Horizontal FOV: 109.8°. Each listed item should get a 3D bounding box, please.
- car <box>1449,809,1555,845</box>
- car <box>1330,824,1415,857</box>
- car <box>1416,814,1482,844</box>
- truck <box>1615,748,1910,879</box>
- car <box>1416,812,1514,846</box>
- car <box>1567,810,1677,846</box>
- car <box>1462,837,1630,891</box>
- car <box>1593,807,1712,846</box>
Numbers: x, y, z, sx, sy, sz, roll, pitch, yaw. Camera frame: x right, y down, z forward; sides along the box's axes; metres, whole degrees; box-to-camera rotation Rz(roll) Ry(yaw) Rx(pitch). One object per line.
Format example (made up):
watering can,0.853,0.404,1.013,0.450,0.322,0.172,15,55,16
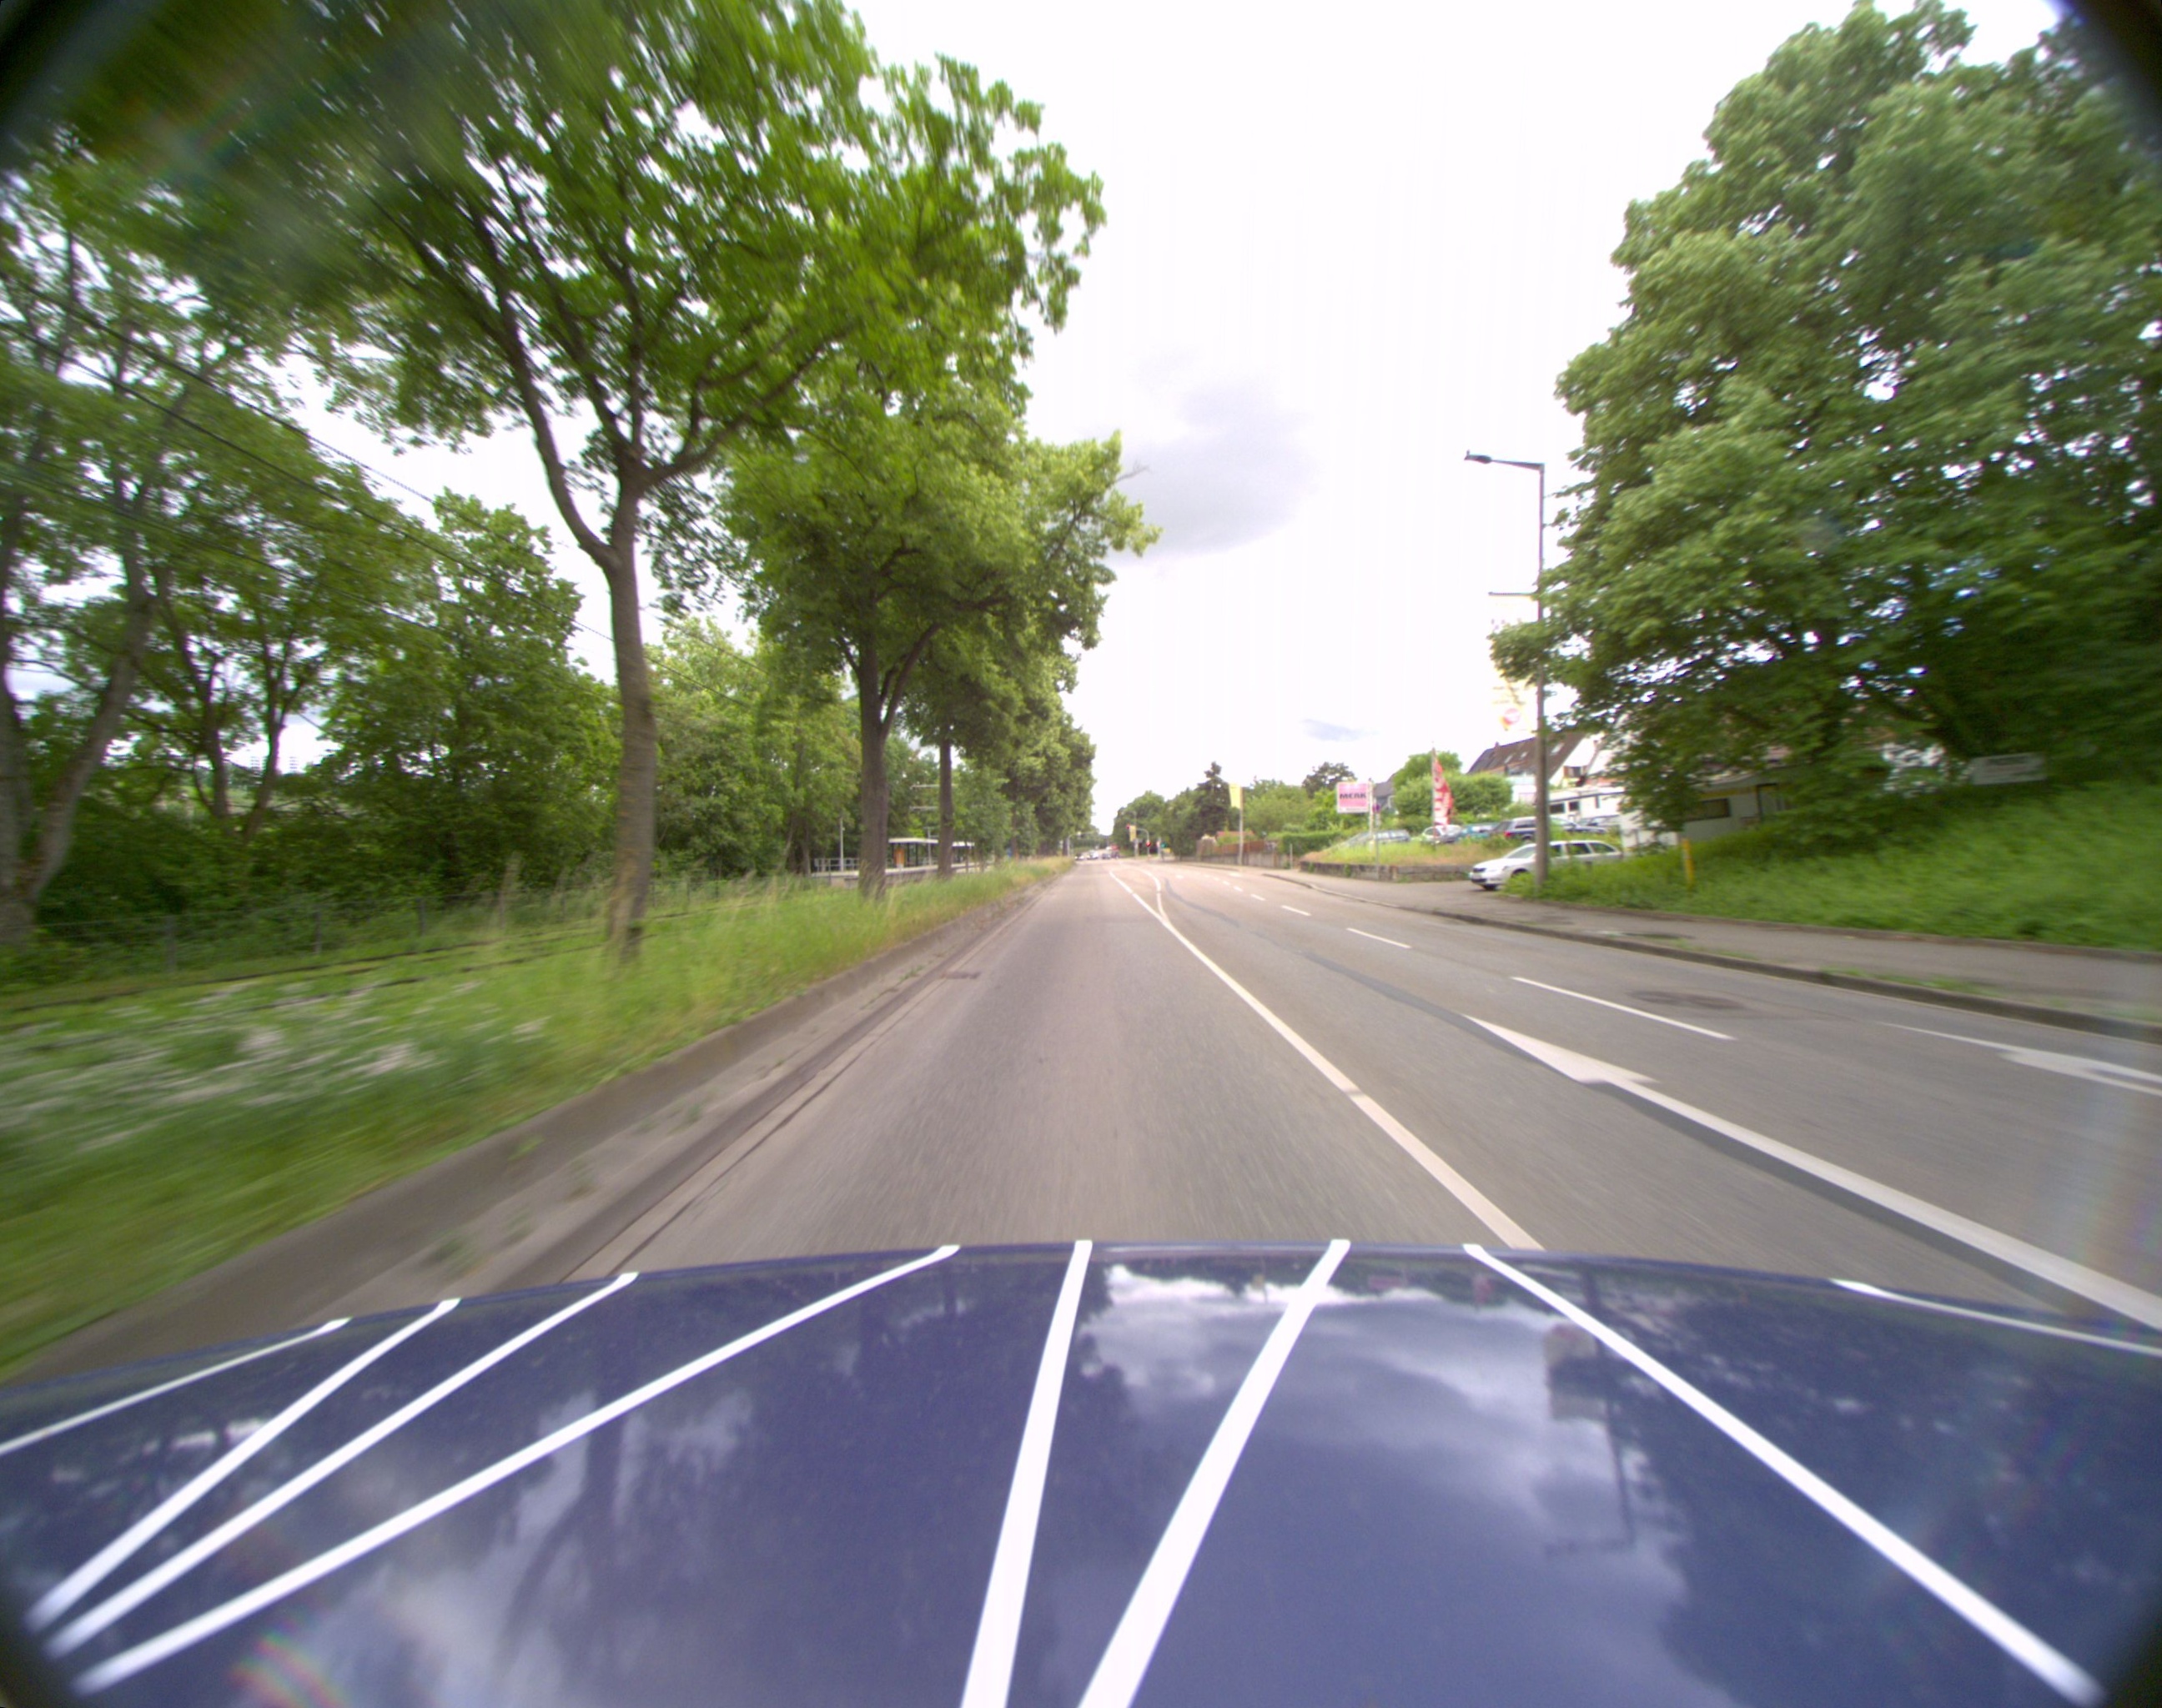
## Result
car,19.780,-1.253,35.814,3.997,1.499,1.734,-2,1,0
car,15.926,-0.729,41.716,3.905,1.609,1.879,-2,1,0
car,20.396,-1.357,42.324,1.733,1.499,3.999,-2,1,1
truck,21.403,-1.226,24.145,6.923,3.609,2.658,-2,1,0
car,19.174,-1.254,38.092,3.997,1.499,1.734,-2,1,0
car,25.301,-1.213,35.627,3.883,1.499,1.734,-2,1,0
car,14.606,0.326,24.014,4.220,1.483,1.749,-2,-1,-3
car,24.911,-1.167,33.188,3.883,1.499,1.734,-2,1,0
